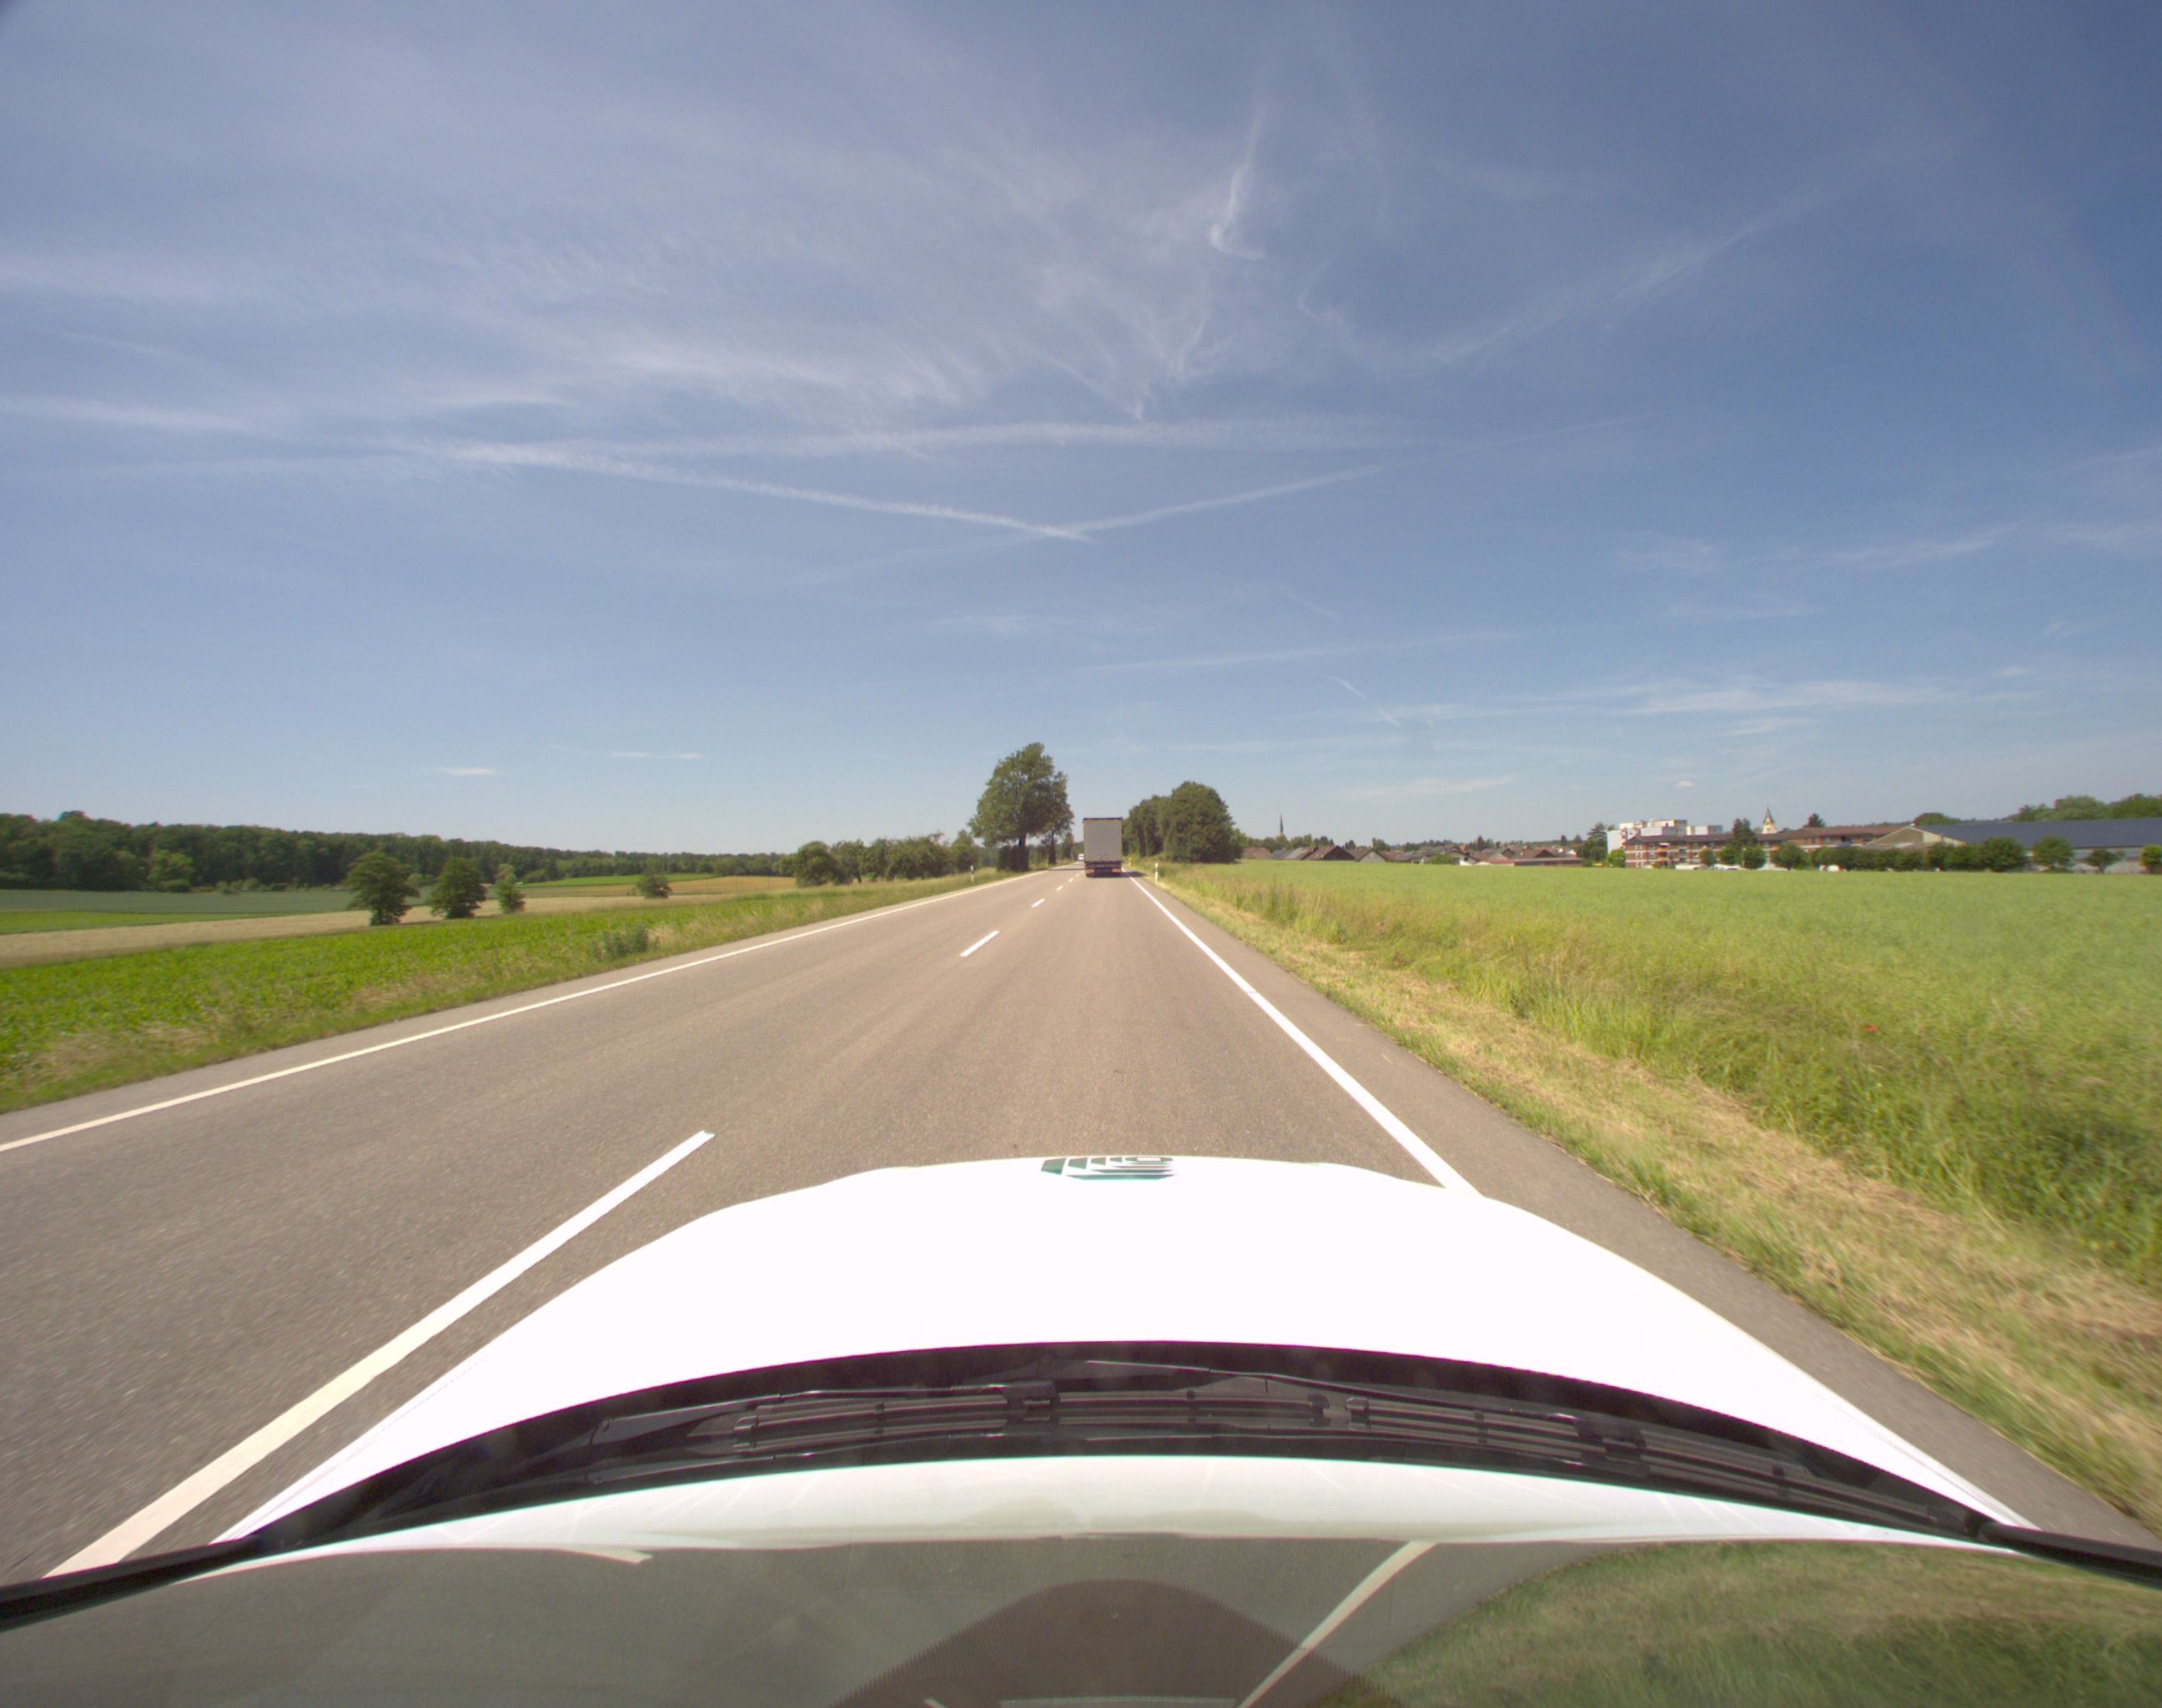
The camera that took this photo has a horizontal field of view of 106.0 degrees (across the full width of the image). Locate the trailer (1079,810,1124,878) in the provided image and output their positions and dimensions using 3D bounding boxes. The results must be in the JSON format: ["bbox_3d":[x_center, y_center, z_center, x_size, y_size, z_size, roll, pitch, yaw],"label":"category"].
[{"bbox_3d":[1.503,-0.662,60.184,2.856,4.400,13.496,-1,0,1],"label":"trailer"}]

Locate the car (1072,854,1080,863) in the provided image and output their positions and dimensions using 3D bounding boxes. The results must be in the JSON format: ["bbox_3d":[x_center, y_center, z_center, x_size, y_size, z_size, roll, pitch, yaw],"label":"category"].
[{"bbox_3d":[-1.188,1.097,197.619,1.867,2.013,4.074,0,0,0],"label":"car"}]
